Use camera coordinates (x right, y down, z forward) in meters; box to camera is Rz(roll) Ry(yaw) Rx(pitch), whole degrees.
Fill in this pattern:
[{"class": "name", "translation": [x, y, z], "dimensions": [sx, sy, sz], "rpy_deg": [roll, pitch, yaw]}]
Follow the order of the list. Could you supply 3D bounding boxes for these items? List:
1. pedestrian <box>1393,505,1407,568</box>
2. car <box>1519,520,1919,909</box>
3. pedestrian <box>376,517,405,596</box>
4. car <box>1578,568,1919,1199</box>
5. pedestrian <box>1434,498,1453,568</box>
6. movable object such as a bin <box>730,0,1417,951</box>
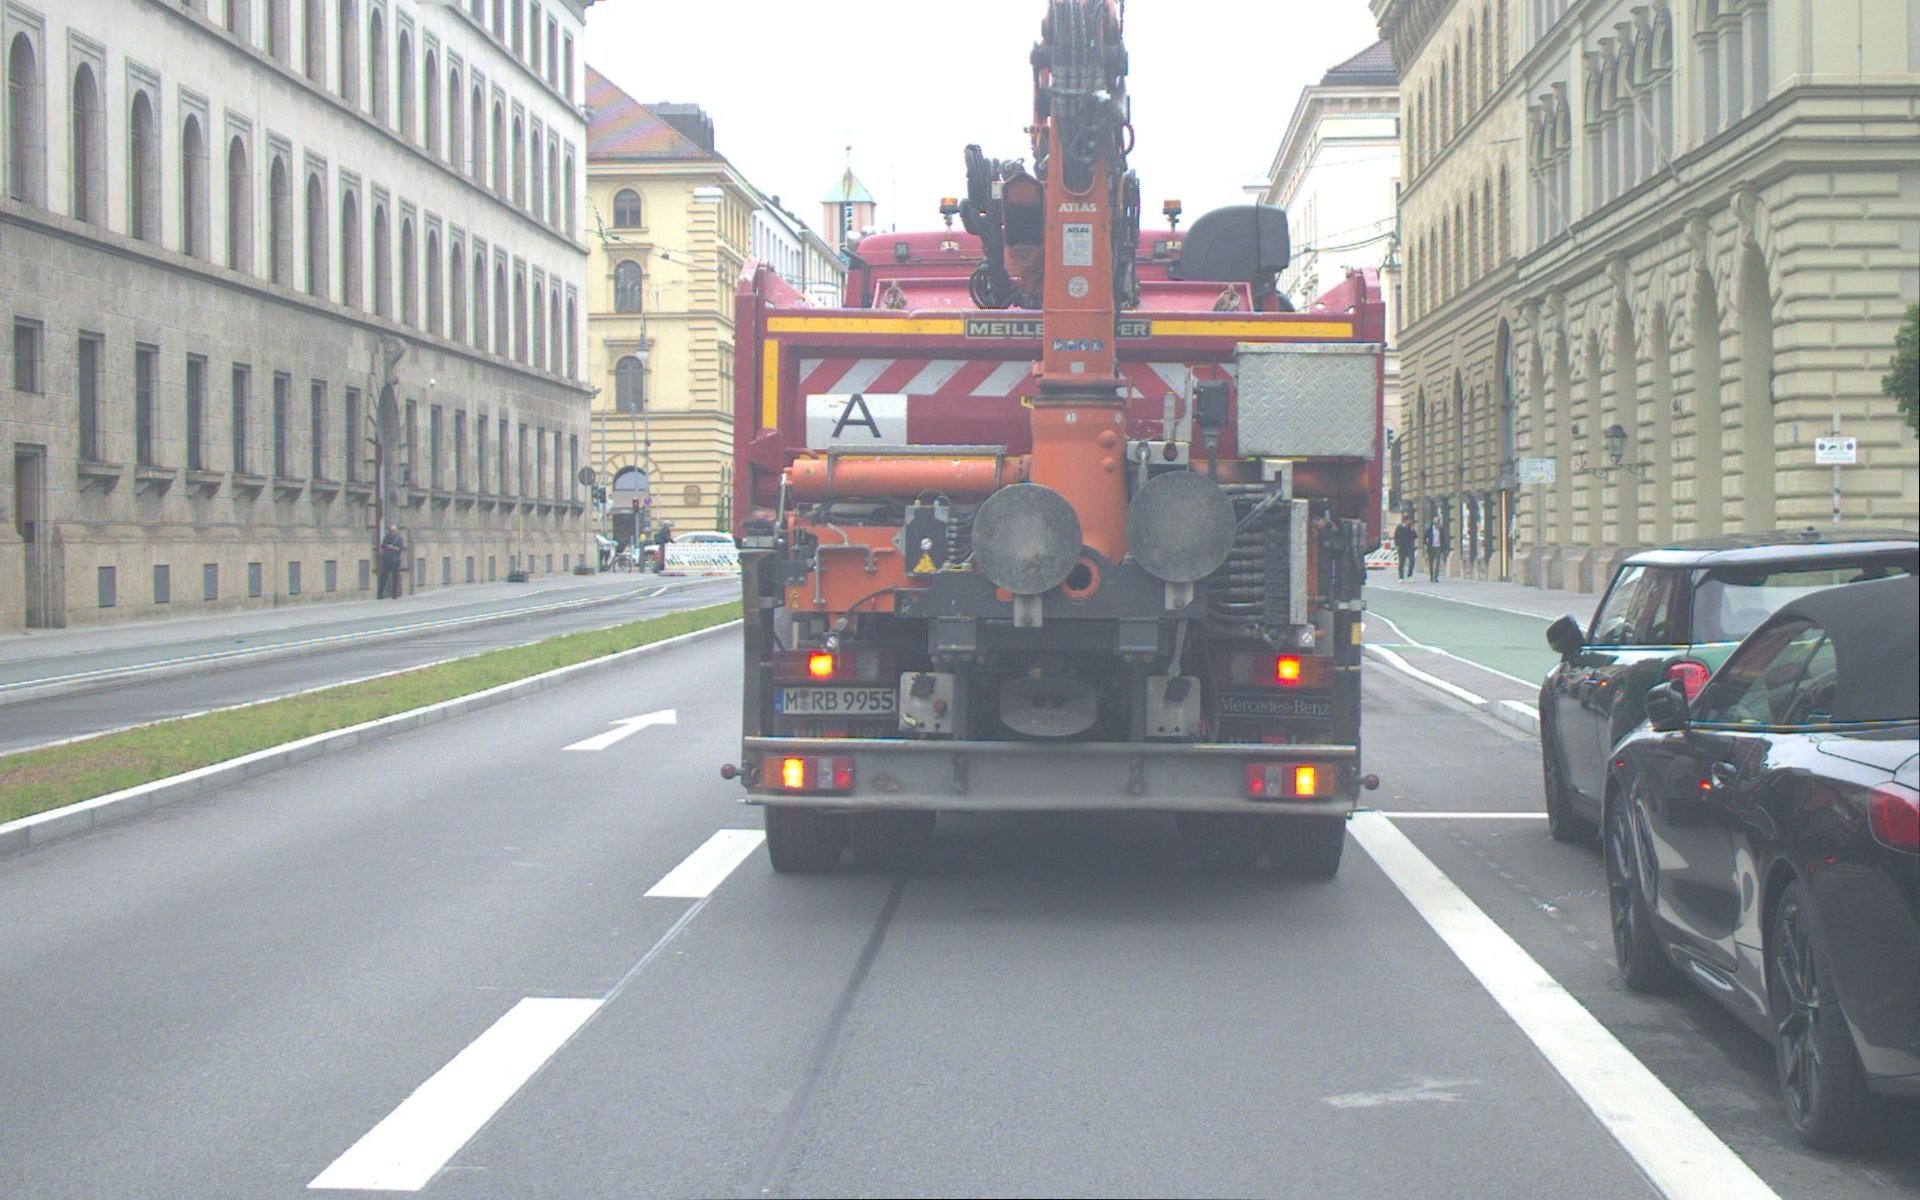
[{"class": "pedestrian", "translation": [11.579, -1.675, 90.453], "dimensions": [0.337, 1.666, 0.440], "rpy_deg": [-1, 1, 3]}, {"class": "car", "translation": [3.480, 0.407, 15.024], "dimensions": [1.610, 1.490, 3.424], "rpy_deg": [-1, 1, 2]}, {"class": "pedestrian", "translation": [-13.218, -1.009, 79.758], "dimensions": [0.588, 1.825, 0.499], "rpy_deg": [0, 2, 1]}, {"class": "car", "translation": [2.864, 0.646, 9.379], "dimensions": [1.680, 1.381, 4.426], "rpy_deg": [1, 1, 2]}, {"class": "pedestrian", "translation": [12.736, -1.772, 90.569], "dimensions": [0.446, 1.830, 0.556], "rpy_deg": [-1, 1, 3]}, {"class": "movable object such as a bin", "translation": [0.444, -0.627, 15.100], "dimensions": [2.423, 3.599, 5.852], "rpy_deg": [0, 1, 1]}]
